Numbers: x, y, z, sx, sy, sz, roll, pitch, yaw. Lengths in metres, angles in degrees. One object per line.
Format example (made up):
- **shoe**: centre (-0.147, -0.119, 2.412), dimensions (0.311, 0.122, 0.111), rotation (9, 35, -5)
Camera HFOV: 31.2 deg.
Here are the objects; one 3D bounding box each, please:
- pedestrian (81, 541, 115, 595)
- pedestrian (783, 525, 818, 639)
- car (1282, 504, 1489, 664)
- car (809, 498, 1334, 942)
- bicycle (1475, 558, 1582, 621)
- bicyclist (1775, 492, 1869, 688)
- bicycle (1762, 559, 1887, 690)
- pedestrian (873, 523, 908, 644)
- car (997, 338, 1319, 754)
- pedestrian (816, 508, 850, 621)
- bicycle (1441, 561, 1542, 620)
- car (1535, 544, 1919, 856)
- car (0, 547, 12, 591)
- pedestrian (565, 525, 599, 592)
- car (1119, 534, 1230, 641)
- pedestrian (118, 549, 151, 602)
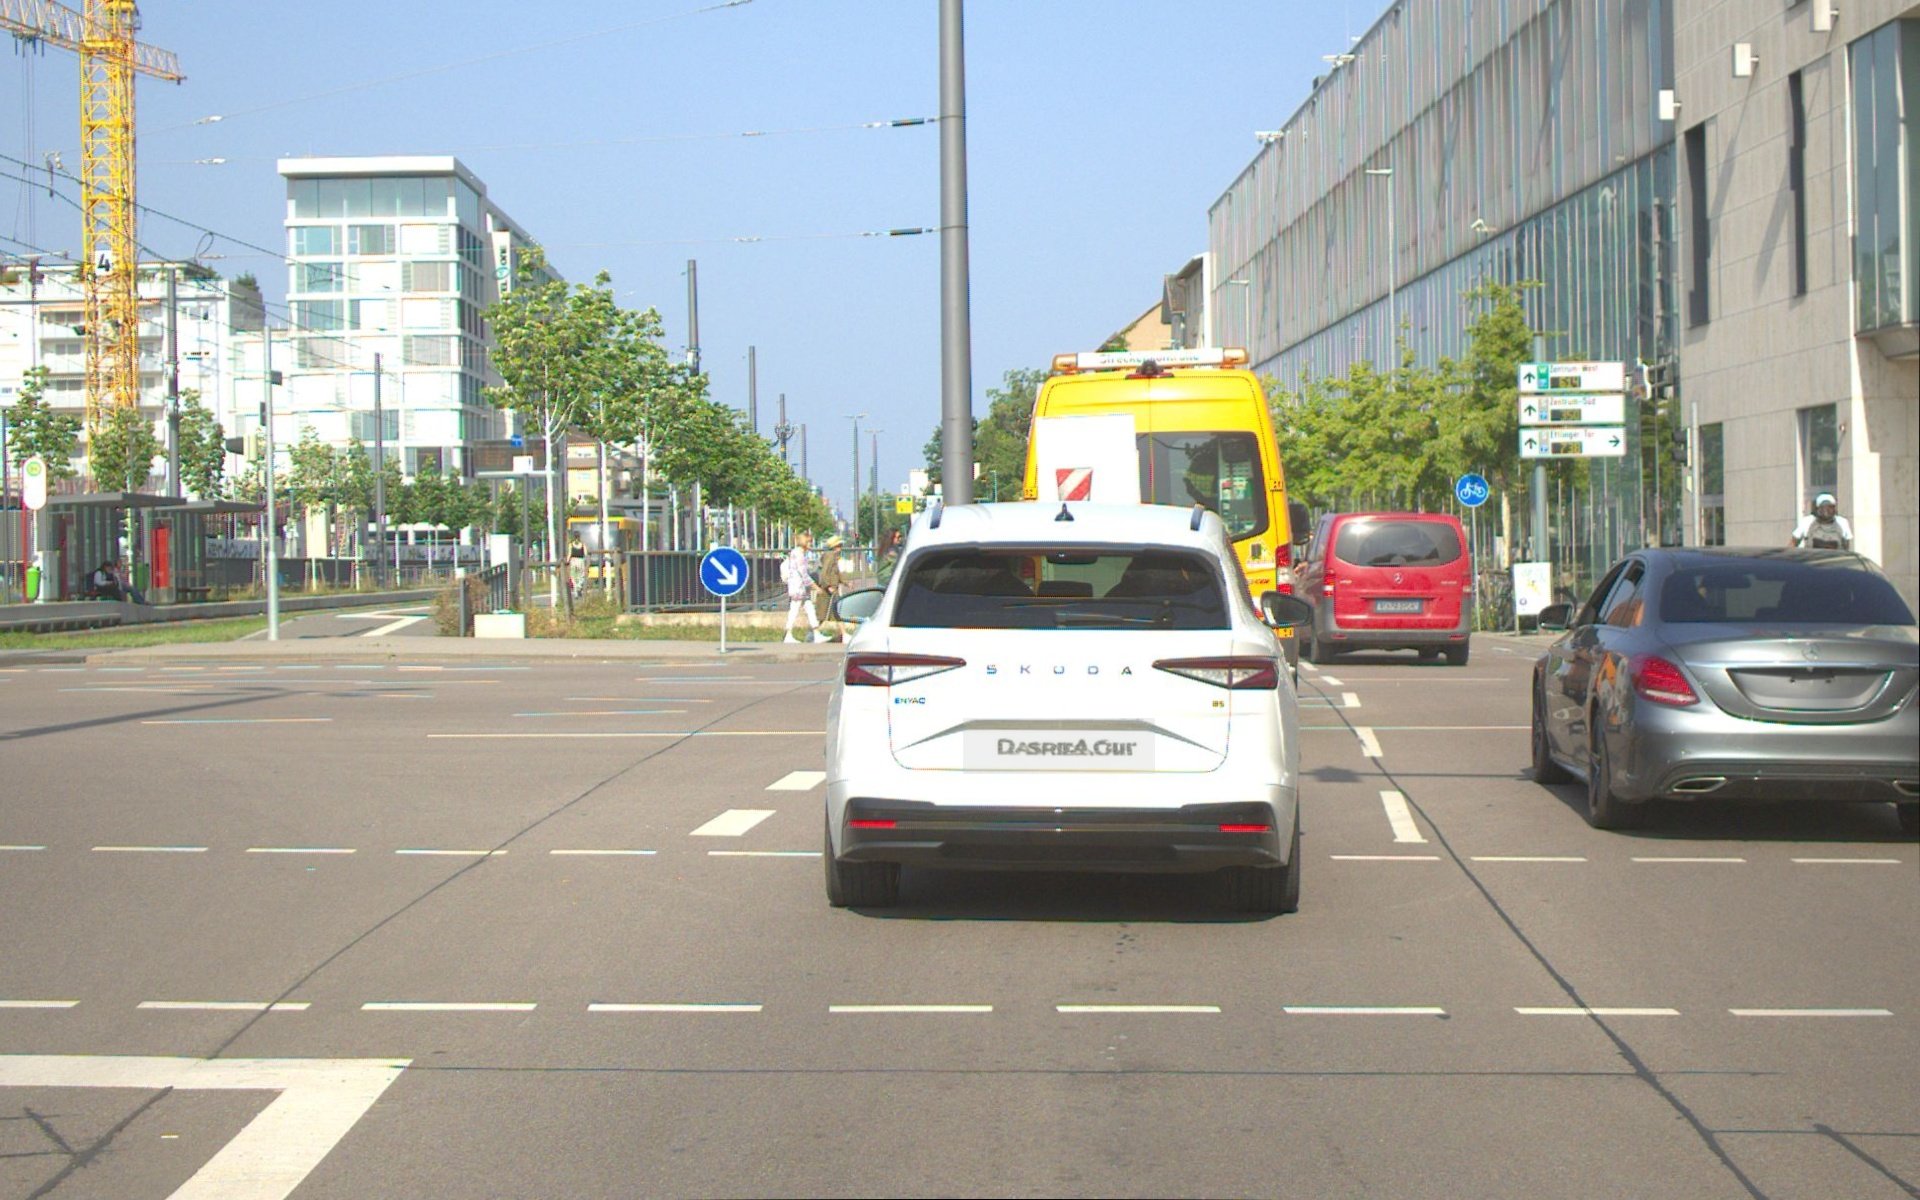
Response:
- **pedestrian**: centre (-20.848, -0.770, 83.131), dimensions (0.680, 1.295, 0.592), rotation (-1, 1, -4)
- **pedestrian**: centre (-2.309, -0.270, 49.900), dimensions (0.467, 1.644, 0.777), rotation (0, 1, -1)
- **car**: centre (5.213, -0.226, 42.625), dimensions (1.950, 1.843, 4.436), rotation (-1, 1, -1)
- **car**: centre (0.381, 0.396, 14.376), dimensions (1.870, 1.569, 4.000), rotation (-1, 1, -1)
- **bicycle**: centre (10.381, -0.197, 62.806), dimensions (1.839, 1.109, 0.687), rotation (1, 1, 1)
- **bicyclist**: centre (7.795, -0.095, 31.100), dimensions (0.651, 1.743, 0.769), rotation (-1, 1, 2)
- **bicycle**: centre (7.796, 0.201, 31.075), dimensions (0.661, 1.113, 2.051), rotation (-1, 1, 2)
- **pedestrian**: centre (-0.950, -0.233, 47.300), dimensions (0.467, 1.644, 0.777), rotation (0, 1, -1)
- **car**: centre (1.373, -0.466, 25.981), dimensions (2.020, 2.786, 5.401), rotation (-1, 2, -1)
- **pedestrian**: centre (-1.875, -0.530, 50.770), dimensions (0.467, 1.644, 0.777), rotation (0, 1, -1)
- **bicycle**: centre (10.352, -0.184, 66.985), dimensions (1.878, 1.105, 0.490), rotation (-1, 1, 1)
- **car**: centre (4.107, 0.433, 18.094), dimensions (1.760, 1.431, 4.114), rotation (1, 1, 4)
- **car**: centre (-32.457, -1.011, 113.099), dimensions (1.596, 1.458, 3.434), rotation (-1, 1, -1)
- **pedestrian**: centre (-9.210, -1.008, 83.774), dimensions (0.735, 1.613, 0.711), rotation (-1, 1, -1)
- **car**: centre (3.840, -0.236, 62.034), dimensions (1.709, 1.856, 3.794), rotation (1, 1, -1)
- **pedestrian**: centre (-20.673, -0.616, 86.079), dimensions (0.680, 1.295, 0.592), rotation (-1, 1, -4)
